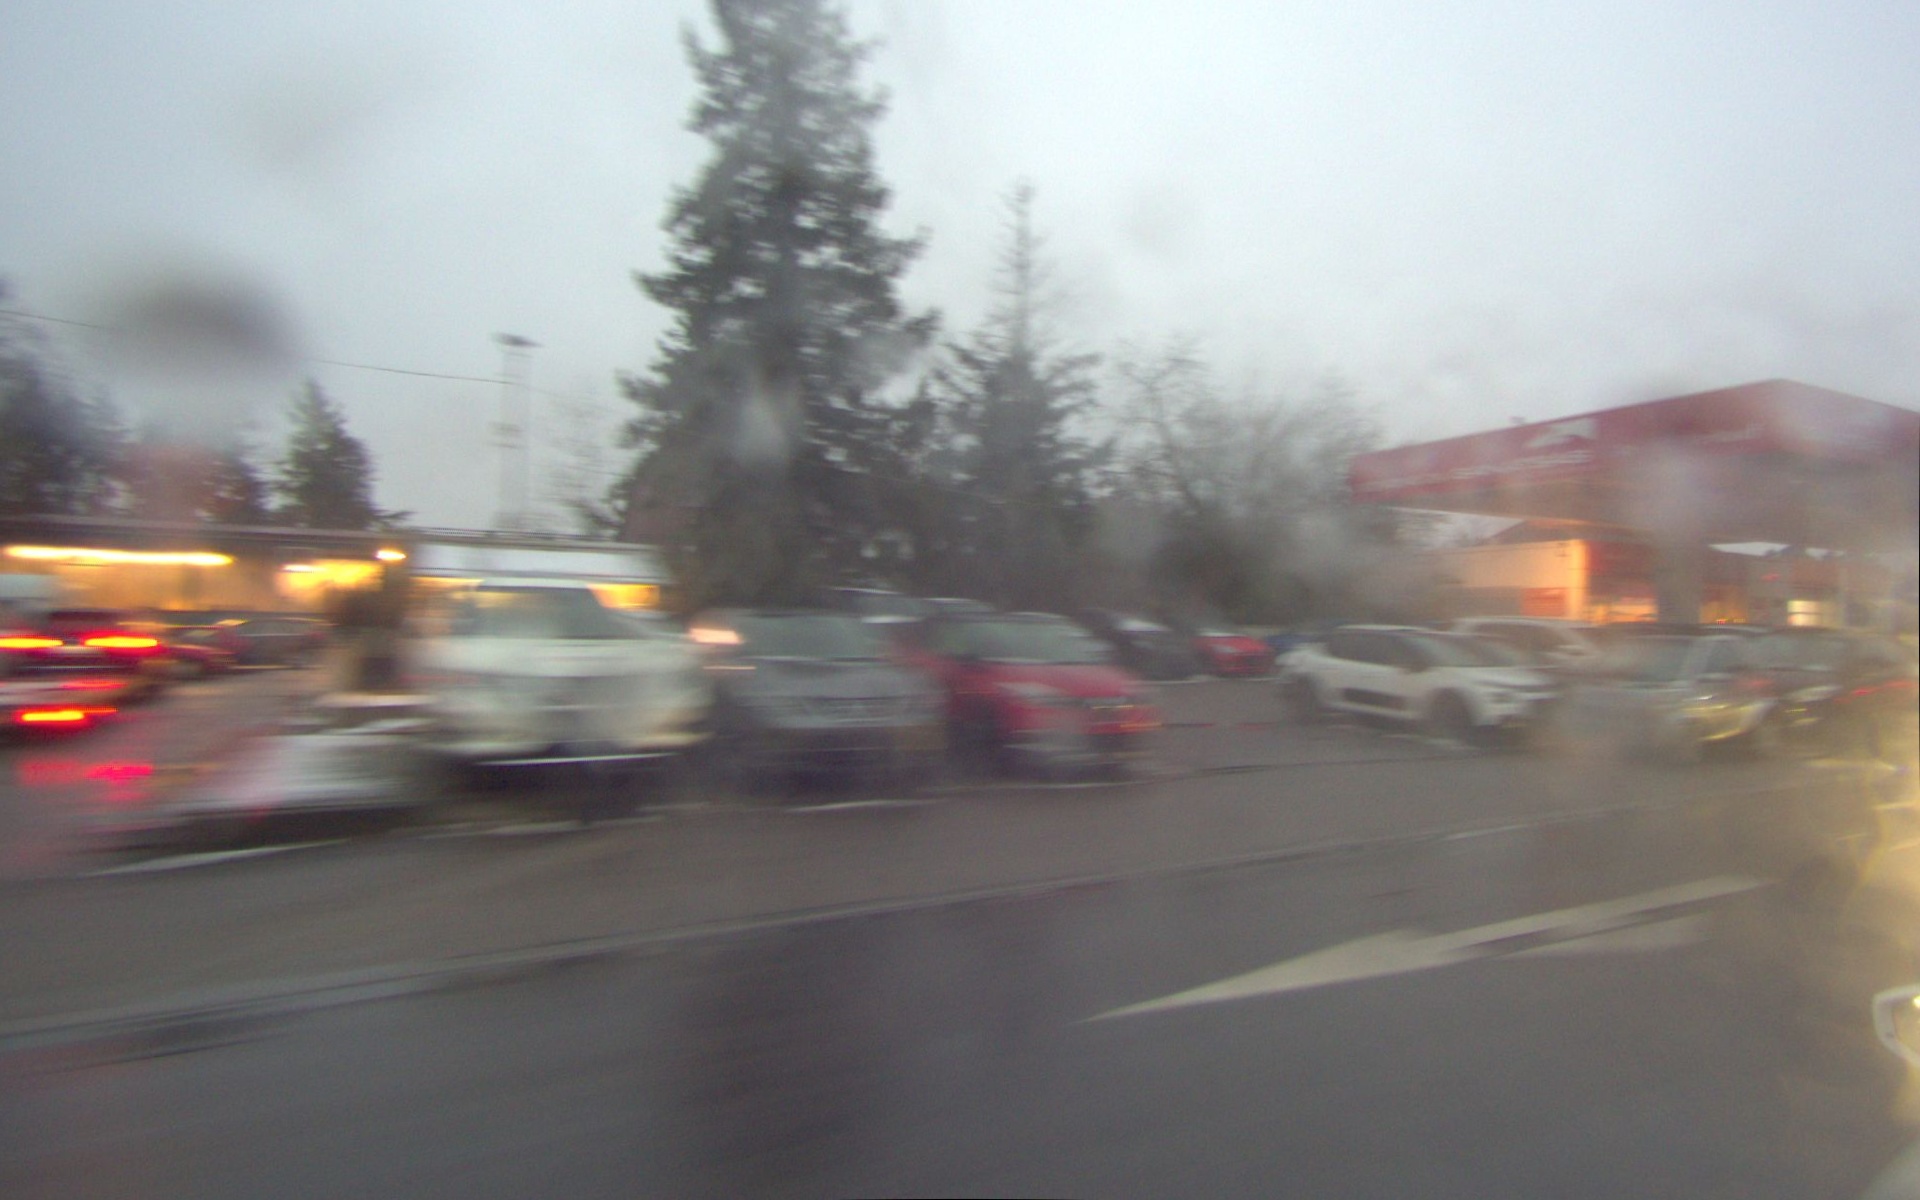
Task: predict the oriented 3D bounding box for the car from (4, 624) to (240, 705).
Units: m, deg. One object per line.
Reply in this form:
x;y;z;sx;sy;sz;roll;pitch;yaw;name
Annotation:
-15.179;1.126;18.401;3.133;1.349;1.399;0;-2;-33;car

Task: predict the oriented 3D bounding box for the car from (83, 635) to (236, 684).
-21.073;1.549;26.578;2.947;1.187;1.412;1;-1;-30;car

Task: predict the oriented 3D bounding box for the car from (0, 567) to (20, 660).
-26.160;0.284;23.872;5.231;2.292;1.982;1;-1;-33;car

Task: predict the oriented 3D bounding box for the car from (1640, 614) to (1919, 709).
16.152;1.118;19.948;1.800;1.575;4.014;1;1;-28;car

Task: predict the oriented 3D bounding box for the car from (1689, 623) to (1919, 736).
12.538;1.089;14.575;3.691;1.439;1.677;1;-1;-26;car

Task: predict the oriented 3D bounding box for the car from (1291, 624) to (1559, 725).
7.772;1.171;17.163;1.817;1.364;3.842;1;0;-28;car

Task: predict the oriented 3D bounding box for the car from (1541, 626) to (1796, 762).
9.099;1.130;12.903;2.977;1.563;1.512;1;-2;-28;car

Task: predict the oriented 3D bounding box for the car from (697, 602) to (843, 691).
-3.818;0.823;19.678;1.766;1.530;3.972;1;0;-27;car

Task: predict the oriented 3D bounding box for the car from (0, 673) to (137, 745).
-11.845;1.363;12.580;2.240;0.807;0.987;1;-2;-33;car

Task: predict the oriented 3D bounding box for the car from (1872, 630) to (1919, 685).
25.405;1.477;24.848;1.817;1.363;3.843;1;-1;-28;car

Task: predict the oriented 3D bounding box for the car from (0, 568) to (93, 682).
-20.670;0.501;21.856;2.244;2.311;4.203;1;-1;-35;car

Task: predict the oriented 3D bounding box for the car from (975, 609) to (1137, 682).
2.137;1.000;23.485;1.934;1.485;3.972;1;0;-27;car

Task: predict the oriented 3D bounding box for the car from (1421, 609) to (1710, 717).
10.545;1.015;17.822;1.916;1.672;4.034;1;-1;-25;car

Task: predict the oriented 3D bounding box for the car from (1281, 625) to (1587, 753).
6.821;1.187;14.827;1.755;1.479;3.754;1;0;-30;car

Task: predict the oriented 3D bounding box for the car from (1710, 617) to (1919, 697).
18.636;1.150;21.368;1.920;1.428;3.842;1;0;-28;car

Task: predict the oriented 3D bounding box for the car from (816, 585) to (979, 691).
-1.393;0.710;20.732;1.934;1.948;3.972;1;0;-27;car

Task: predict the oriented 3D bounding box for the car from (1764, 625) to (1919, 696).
20.602;1.322;22.343;1.817;1.424;3.843;1;-1;-28;car

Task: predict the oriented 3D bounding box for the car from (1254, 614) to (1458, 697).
8.146;1.090;20.640;3.821;1.509;1.827;1;1;-27;car

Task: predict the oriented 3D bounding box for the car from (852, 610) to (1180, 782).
0.390;0.901;11.409;1.802;1.518;4.320;1;0;-27;car

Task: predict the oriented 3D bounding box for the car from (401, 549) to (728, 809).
-3.776;0.531;9.020;1.988;1.699;4.510;1;0;-31;car

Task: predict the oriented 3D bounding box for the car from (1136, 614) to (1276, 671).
6.229;1.051;25.750;1.602;1.275;3.558;1;0;-25;car

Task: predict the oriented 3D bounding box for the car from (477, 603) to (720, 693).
-6.179;0.792;17.387;3.550;1.402;1.675;1;0;6;car

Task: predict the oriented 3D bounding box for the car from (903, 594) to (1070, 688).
0.469;0.804;21.721;1.934;1.832;3.972;1;0;-27;car

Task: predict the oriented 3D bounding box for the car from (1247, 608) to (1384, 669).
9.962;1.033;28.140;3.534;1.593;1.613;0;0;-26;car

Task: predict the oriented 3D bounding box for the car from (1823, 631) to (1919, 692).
23.068;1.464;23.609;1.817;1.363;3.843;1;-1;-28;car

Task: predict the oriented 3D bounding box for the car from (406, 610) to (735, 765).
-4.893;1.007;12.712;3.663;1.699;1.661;1;-1;-30;car

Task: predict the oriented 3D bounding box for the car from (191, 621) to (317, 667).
-21.858;1.345;31.226;3.133;1.349;1.399;0;-2;-33;car

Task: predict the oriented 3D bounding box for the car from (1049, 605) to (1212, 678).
4.069;0.941;24.557;1.934;1.597;3.972;1;0;-27;car

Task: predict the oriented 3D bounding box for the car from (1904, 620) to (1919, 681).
27.893;1.394;26.297;1.956;1.678;4.263;1;-1;-28;car

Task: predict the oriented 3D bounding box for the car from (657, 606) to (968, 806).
-1.721;0.840;10.096;1.967;1.518;4.323;1;0;-25;car
